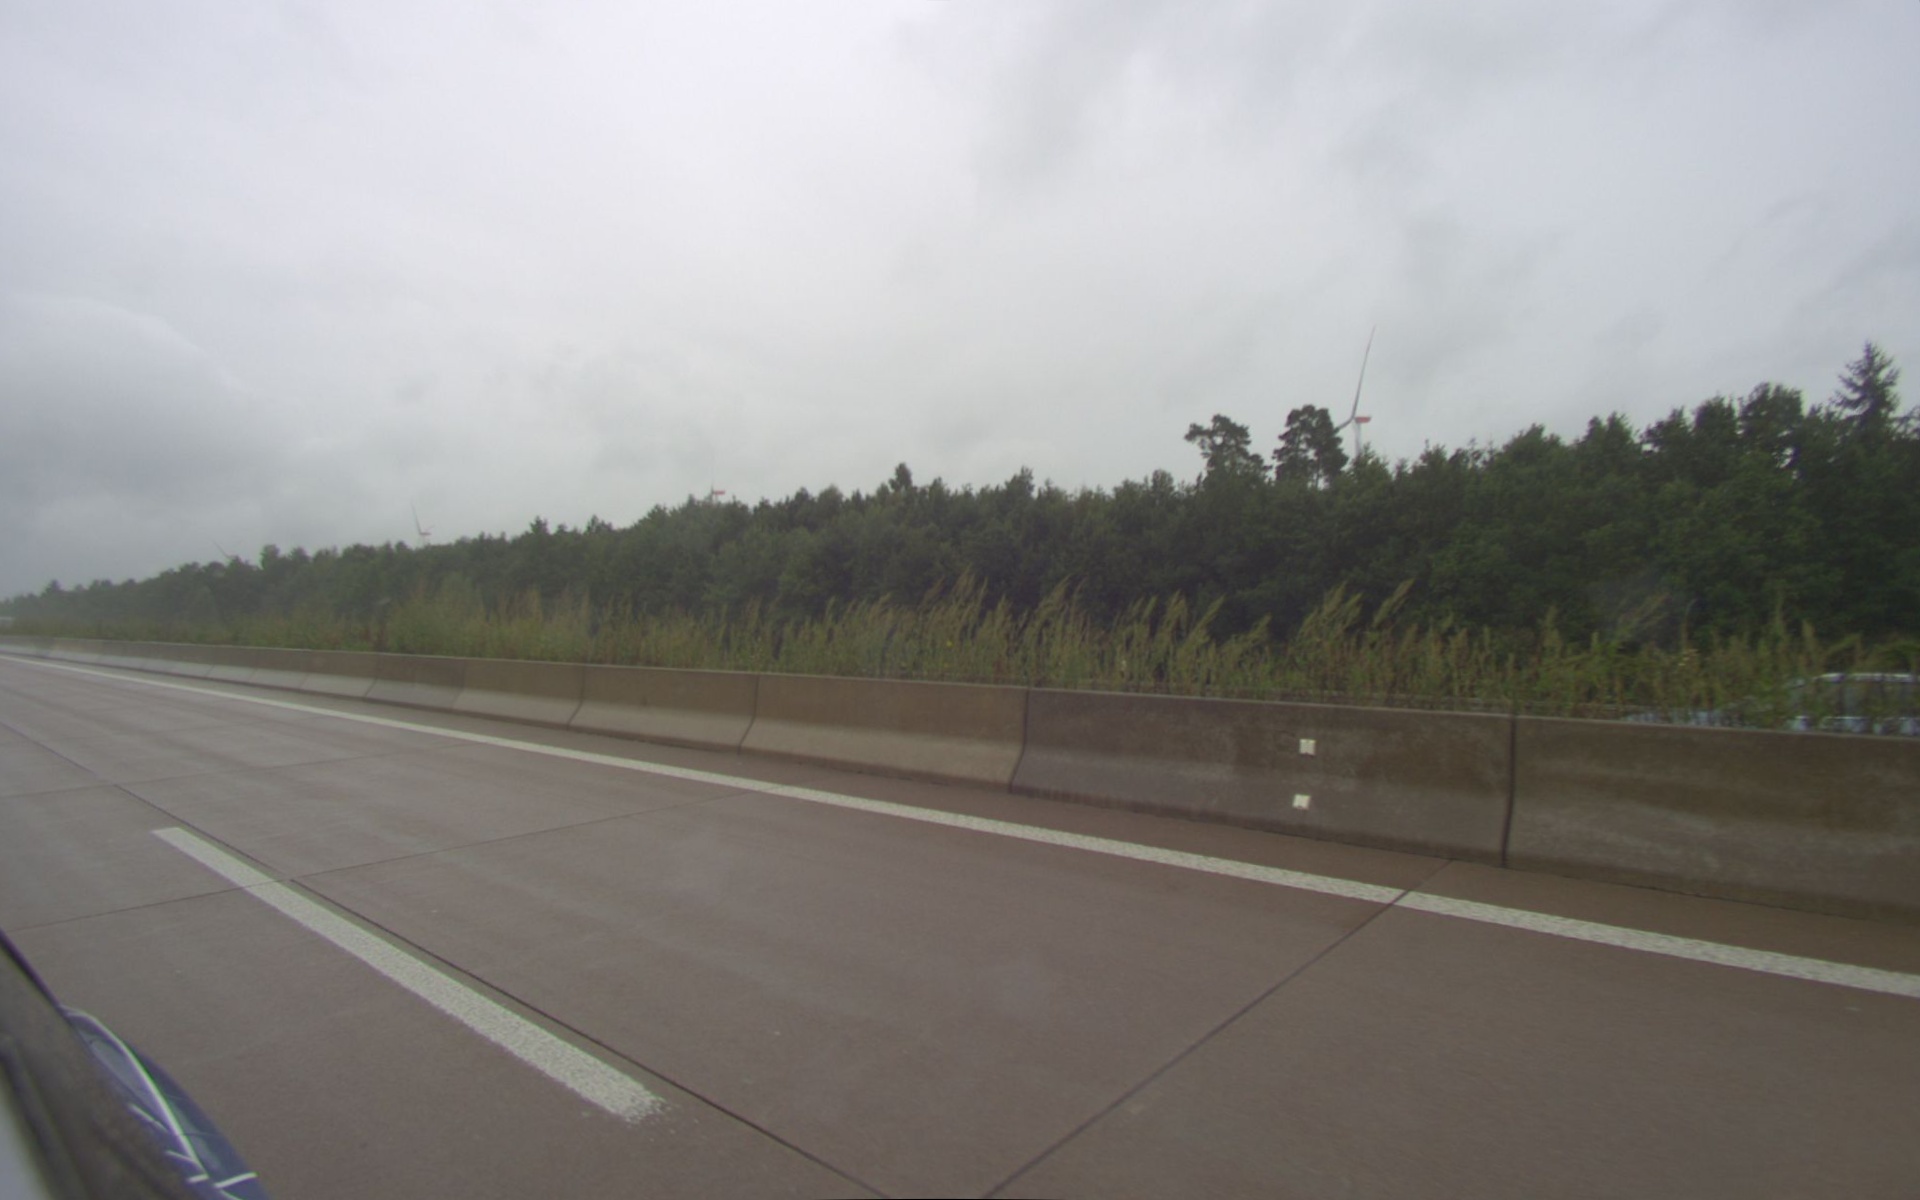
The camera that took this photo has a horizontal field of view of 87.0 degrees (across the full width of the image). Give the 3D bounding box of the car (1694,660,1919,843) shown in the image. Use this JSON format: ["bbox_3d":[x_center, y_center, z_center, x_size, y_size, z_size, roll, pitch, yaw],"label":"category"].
[{"bbox_3d":[11.076,1.707,11.694,3.999,1.829,1.972,-1,-1,42],"label":"car"}]
